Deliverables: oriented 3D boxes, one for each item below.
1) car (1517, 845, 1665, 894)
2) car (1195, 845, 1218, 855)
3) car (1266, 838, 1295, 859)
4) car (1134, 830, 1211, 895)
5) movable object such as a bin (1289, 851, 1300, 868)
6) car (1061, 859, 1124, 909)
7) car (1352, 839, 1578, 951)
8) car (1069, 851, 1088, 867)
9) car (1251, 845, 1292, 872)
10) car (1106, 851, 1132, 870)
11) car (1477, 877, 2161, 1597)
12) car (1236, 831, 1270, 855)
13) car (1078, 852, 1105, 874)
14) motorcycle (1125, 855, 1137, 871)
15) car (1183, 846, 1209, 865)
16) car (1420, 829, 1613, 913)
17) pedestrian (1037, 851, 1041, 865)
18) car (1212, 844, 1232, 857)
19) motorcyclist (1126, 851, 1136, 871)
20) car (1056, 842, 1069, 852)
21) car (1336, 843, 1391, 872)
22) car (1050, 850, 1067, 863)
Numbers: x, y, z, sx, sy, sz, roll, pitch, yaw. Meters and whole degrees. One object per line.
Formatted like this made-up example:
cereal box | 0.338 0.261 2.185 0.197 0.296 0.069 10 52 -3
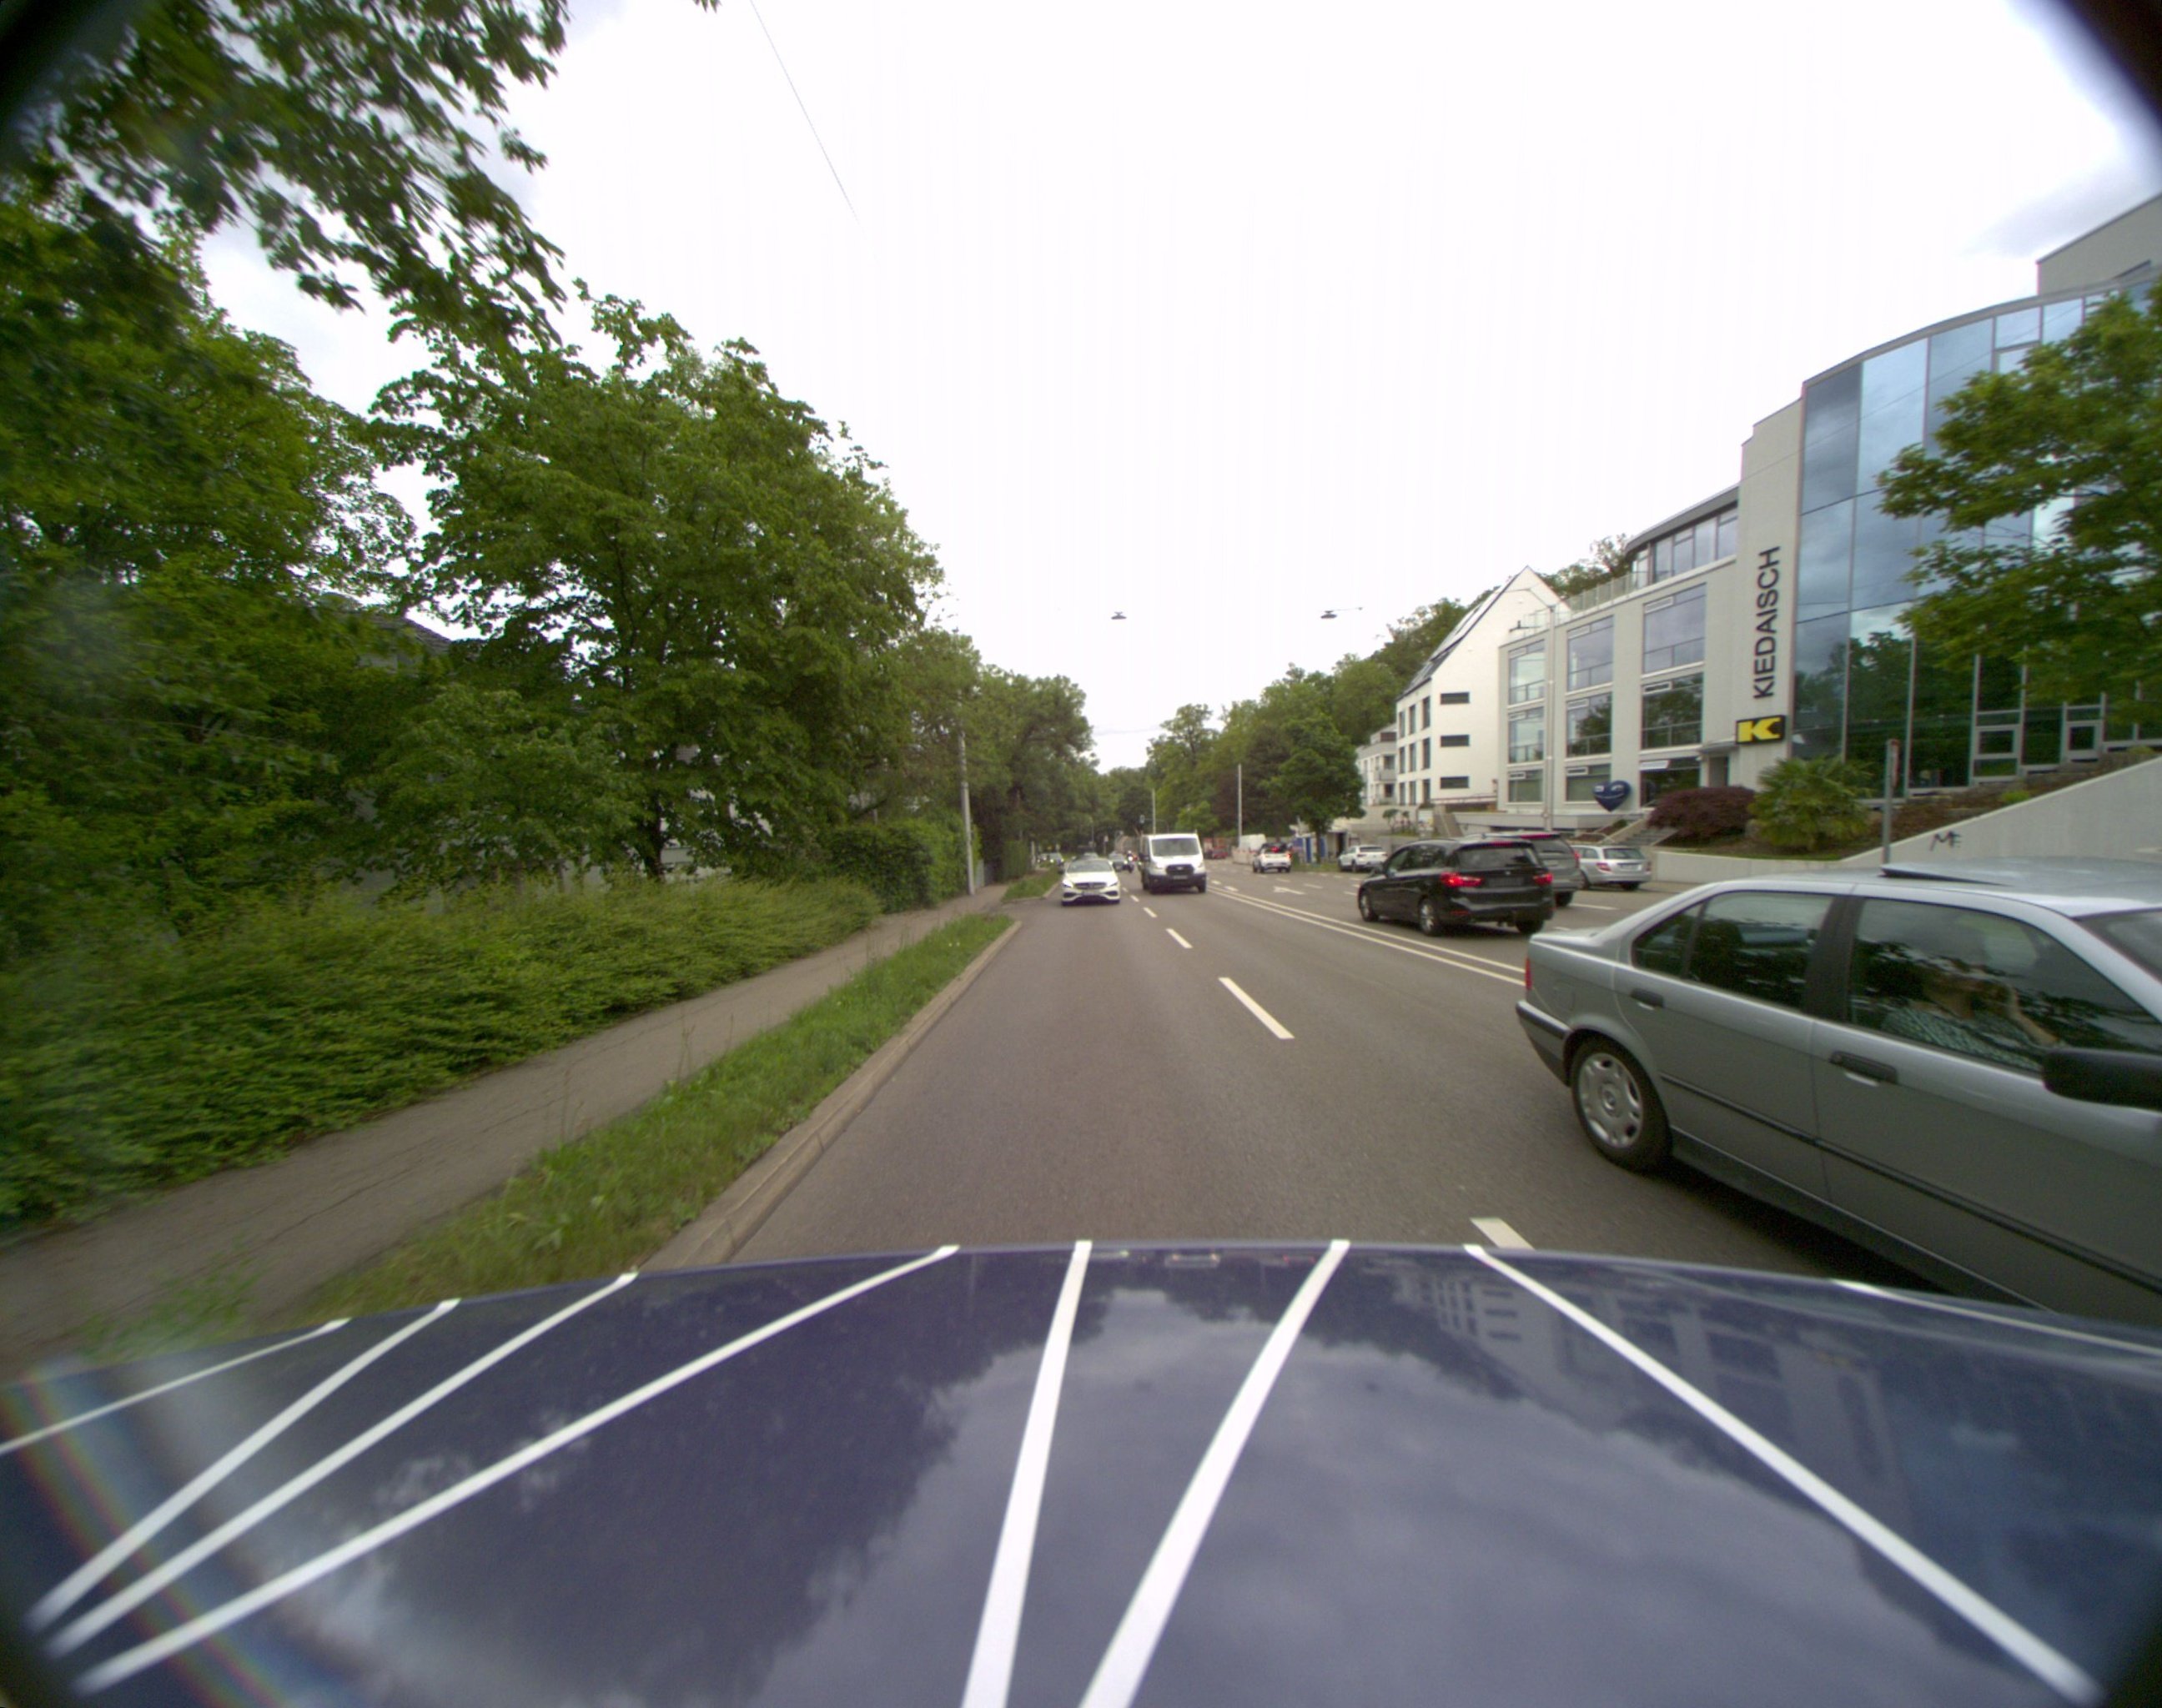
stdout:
car | 16.261 0.446 24.553 1.677 1.420 4.416 1 1 -2
car | 18.648 -0.592 112.842 3.301 1.434 1.579 -3 1 -40
car | 18.073 -0.543 69.080 1.810 1.741 4.251 -3 1 5
car | 3.359 0.299 29.158 1.999 2.161 6.267 -2 0 -2
movable object such as a bin | 14.019 0.366 49.948 0.589 1.131 0.645 -2 1 7
car | 0.280 0.899 24.423 1.821 1.339 3.999 -2 1 -2
car | 6.392 0.592 13.295 1.768 1.583 4.365 -2 0 1
car | -0.243 0.450 76.037 1.675 1.523 3.998 -2 1 -3
car | 11.672 0.227 46.729 1.804 1.533 3.923 -2 0 4
car | 3.364 0.568 67.555 1.999 1.540 3.999 -2 0 -1
car | 3.114 0.874 2.073 1.638 1.375 4.619 -2 1 0
car | 18.931 -1.174 84.126 1.999 2.511 6.532 -3 1 -2
car | 0.688 0.608 54.733 1.734 1.403 3.999 -2 1 -2
motorcycle | 3.796 0.667 58.251 0.574 1.120 2.295 -4 1 -3
car | 10.536 0.119 70.040 1.851 1.693 4.763 -1 1 2
car | 10.238 0.335 18.389 1.768 1.699 4.869 -2 0 -1
pedestrian | -5.805 0.541 104.985 0.513 1.824 0.494 -2 1 -1
car | 16.768 -0.379 90.589 1.582 1.434 3.293 -2 1 -4
motorcyclist | 3.826 0.521 58.148 0.619 1.463 0.930 -4 1 -3
car | -3.632 -1.299 145.414 2.000 1.880 3.997 -2 1 -8
car | 15.702 0.150 42.494 1.672 1.495 4.238 -1 1 2
car | -3.114 0.286 103.966 1.999 1.647 4.433 -2 1 -5
